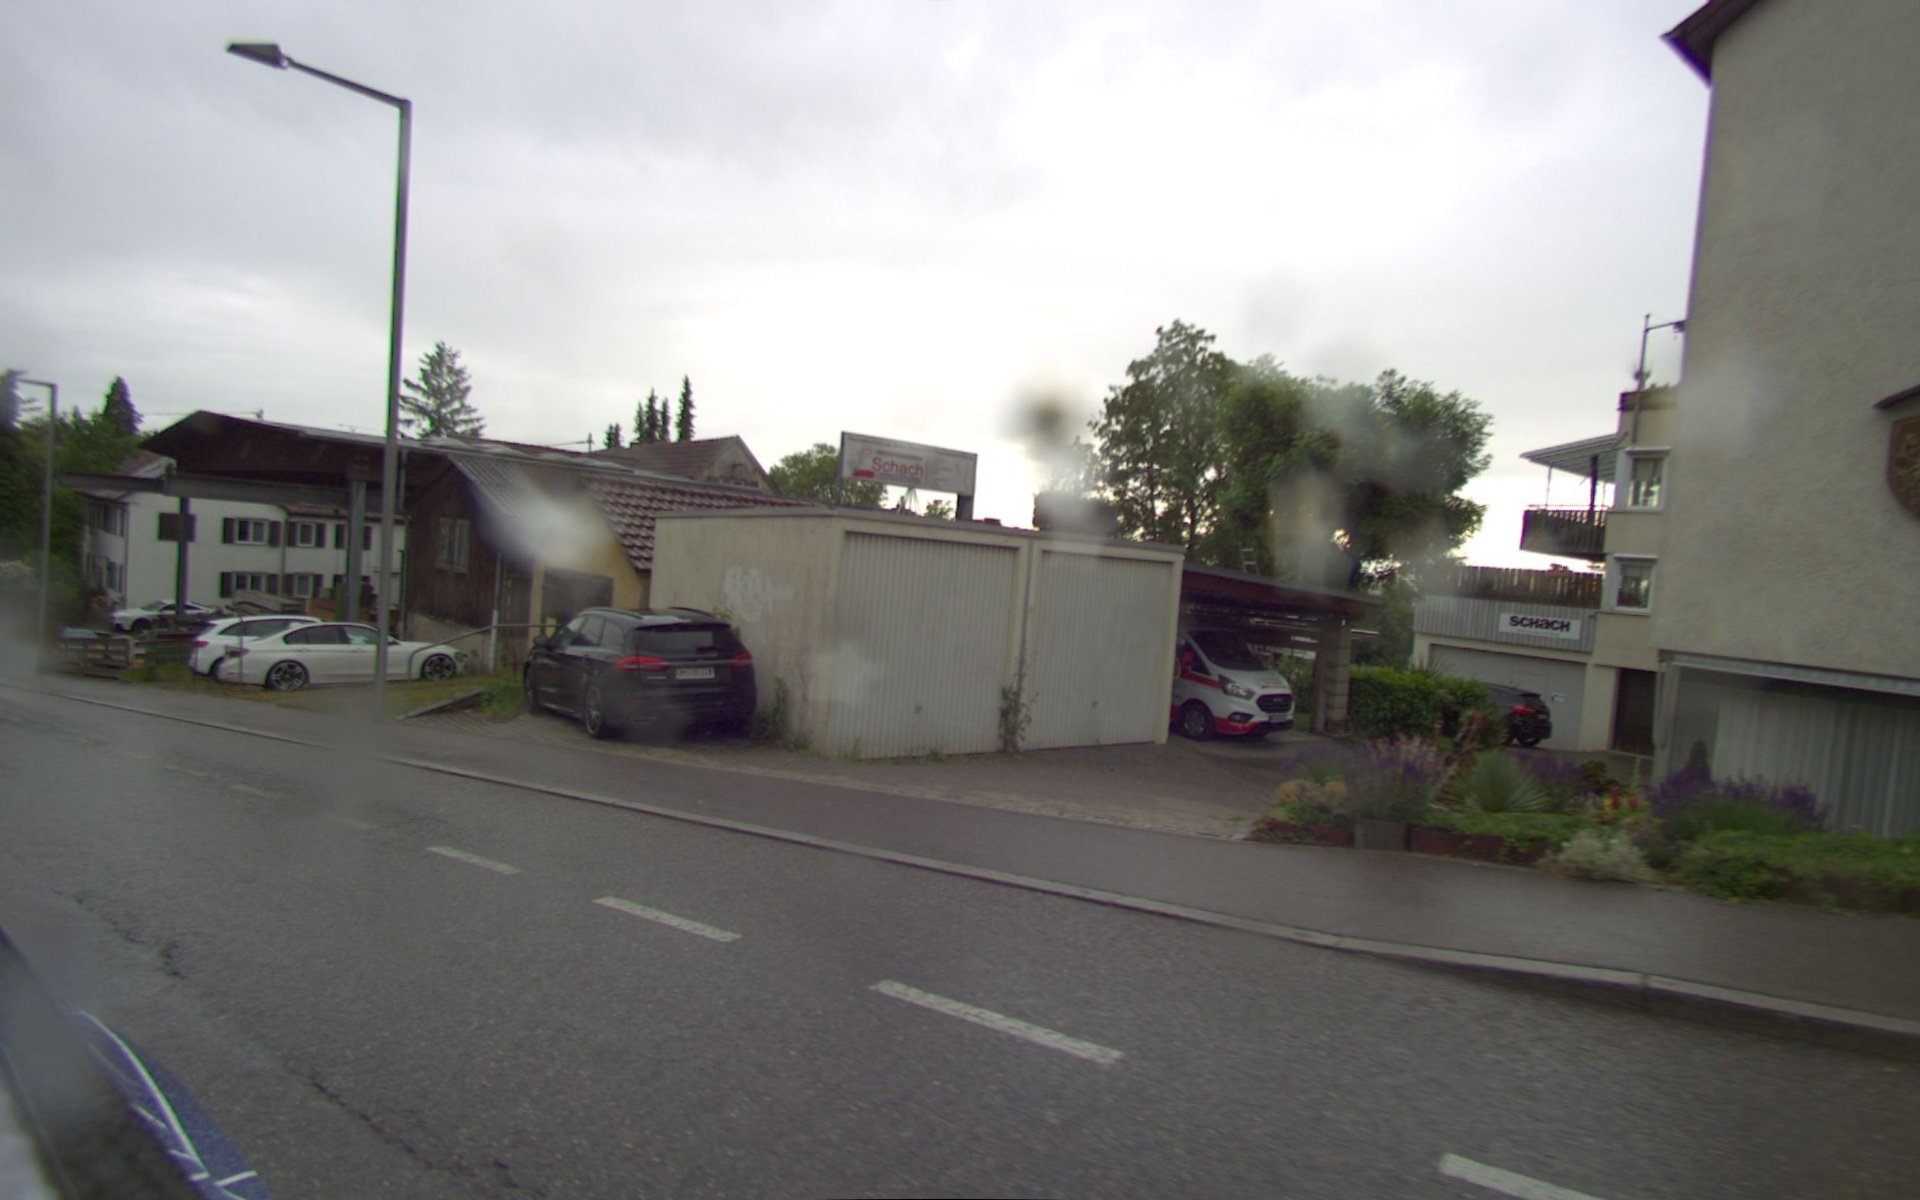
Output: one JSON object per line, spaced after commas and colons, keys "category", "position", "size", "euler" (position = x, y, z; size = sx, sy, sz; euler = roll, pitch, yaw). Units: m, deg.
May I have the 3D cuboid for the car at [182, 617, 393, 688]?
{"category": "car", "position": [-15.577, 1.189, 23.639], "size": [3.932, 1.516, 1.906], "euler": [2, -2, -32]}

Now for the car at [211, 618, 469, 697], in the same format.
{"category": "car", "position": [-13.134, 1.166, 21.579], "size": [4.439, 1.516, 1.904], "euler": [2, -2, -39]}

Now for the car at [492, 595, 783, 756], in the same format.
{"category": "car", "position": [-4.360, 0.854, 13.094], "size": [1.948, 1.672, 4.972], "euler": [2, -2, -38]}

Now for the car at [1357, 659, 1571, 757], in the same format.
{"category": "car", "position": [11.895, 2.509, 24.096], "size": [1.968, 1.740, 4.009], "euler": [5, -1, -38]}

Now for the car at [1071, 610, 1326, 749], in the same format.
{"category": "car", "position": [4.252, 1.378, 18.582], "size": [1.942, 2.016, 4.119], "euler": [5, -1, -38]}

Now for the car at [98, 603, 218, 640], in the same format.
{"category": "car", "position": [-36.359, 0.988, 45.968], "size": [1.802, 1.519, 3.947], "euler": [3, 0, 39]}

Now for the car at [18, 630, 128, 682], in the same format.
{"category": "car", "position": [-27.423, 1.708, 31.255], "size": [4.443, 1.452, 1.875], "euler": [-1, -4, 41]}
